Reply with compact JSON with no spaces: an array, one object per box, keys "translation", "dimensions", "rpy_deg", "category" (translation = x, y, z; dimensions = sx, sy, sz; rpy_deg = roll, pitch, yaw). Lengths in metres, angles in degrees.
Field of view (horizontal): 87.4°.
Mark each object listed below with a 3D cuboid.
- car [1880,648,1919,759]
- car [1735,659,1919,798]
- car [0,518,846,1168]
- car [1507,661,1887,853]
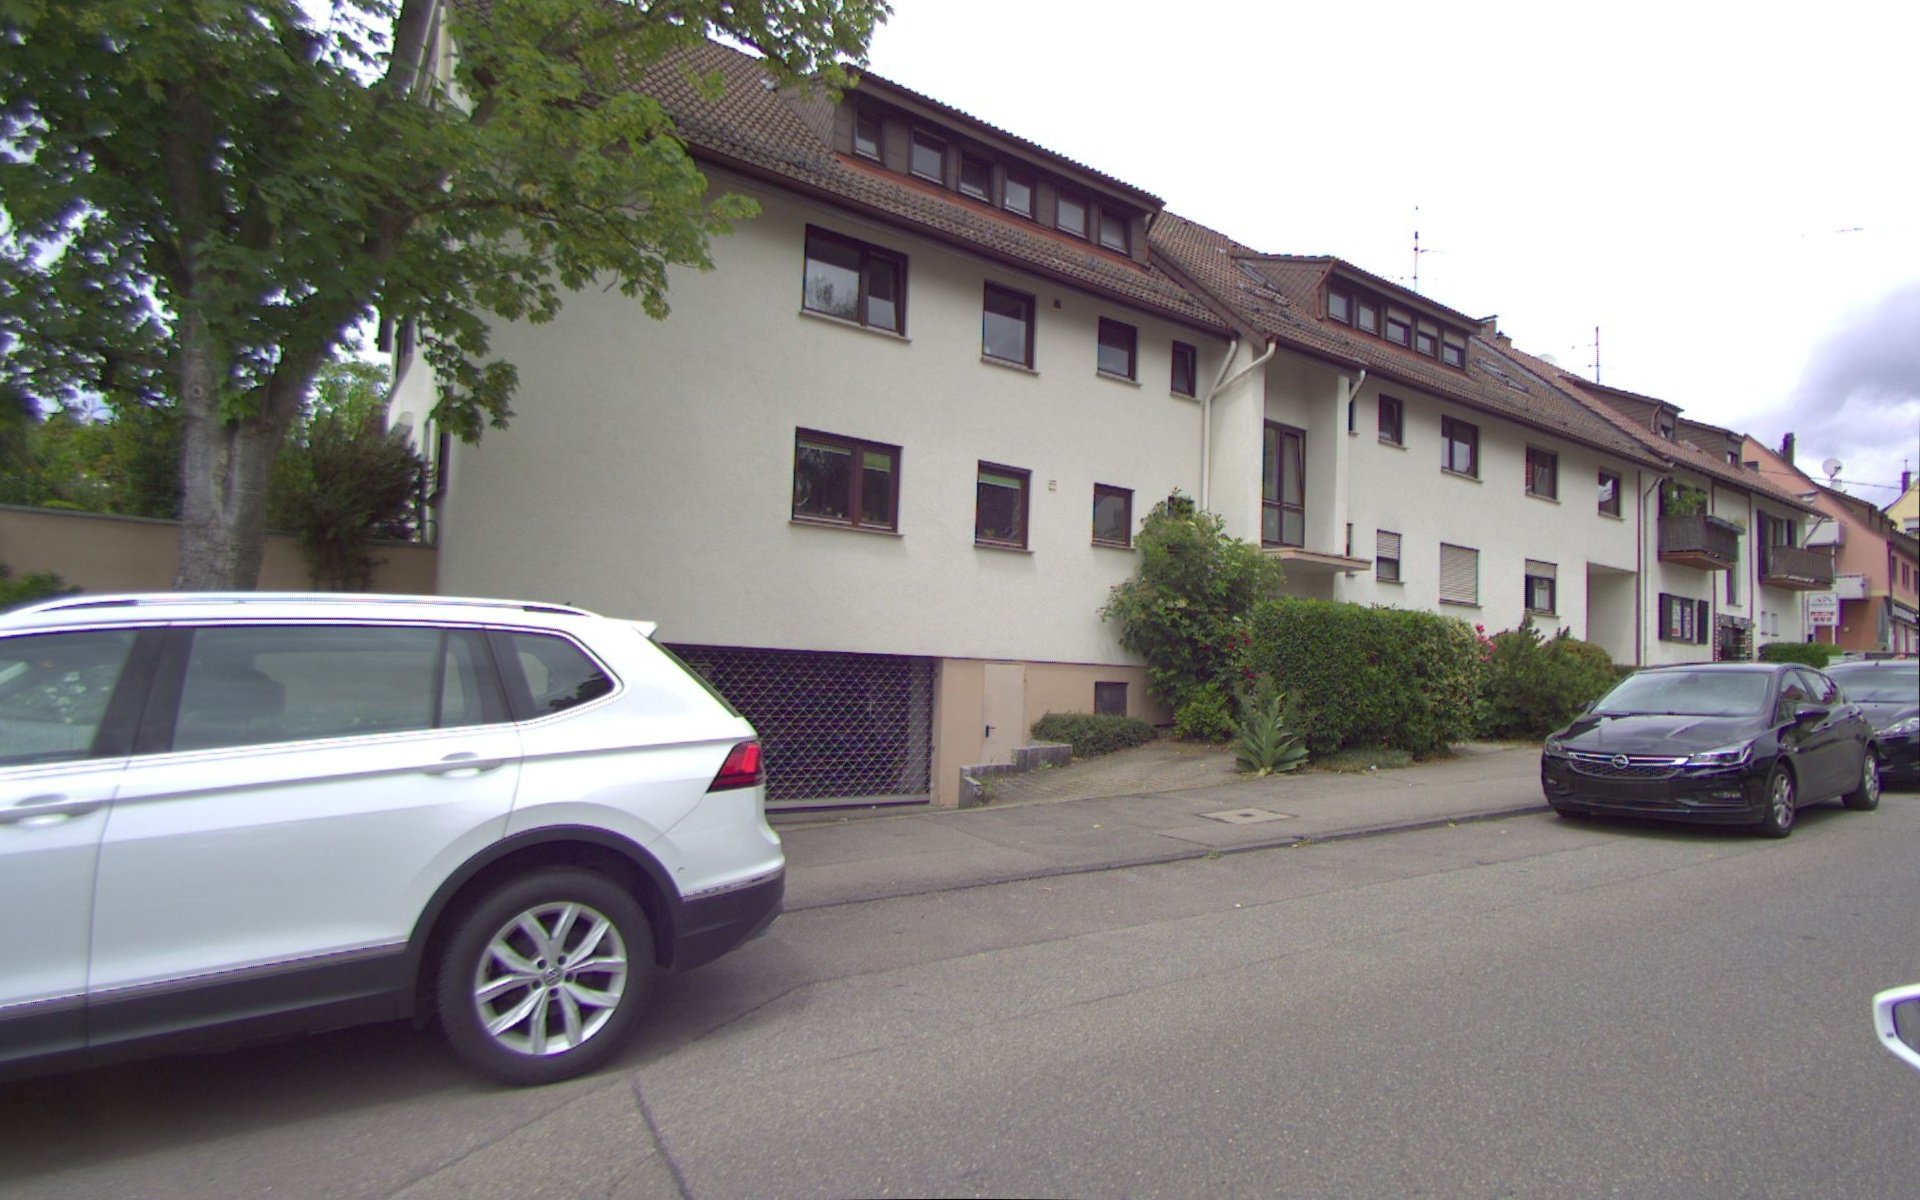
[{"translation":[17.082,1.642,16.532],"dimensions":[4.739,1.702,1.835],"rpy_deg":[2,-5,-35],"category":"car"},{"translation":[11.399,1.497,12.373],"dimensions":[4.038,1.456,1.752],"rpy_deg":[2,-7,-35],"category":"car"},{"translation":[-2.856,0.711,3.621],"dimensions":[4.521,1.736,1.842],"rpy_deg":[2,-5,-30],"category":"car"},{"translation":[7.132,1.321,9.607],"dimensions":[4.039,1.457,1.751],"rpy_deg":[2,-5,-36],"category":"car"}]
